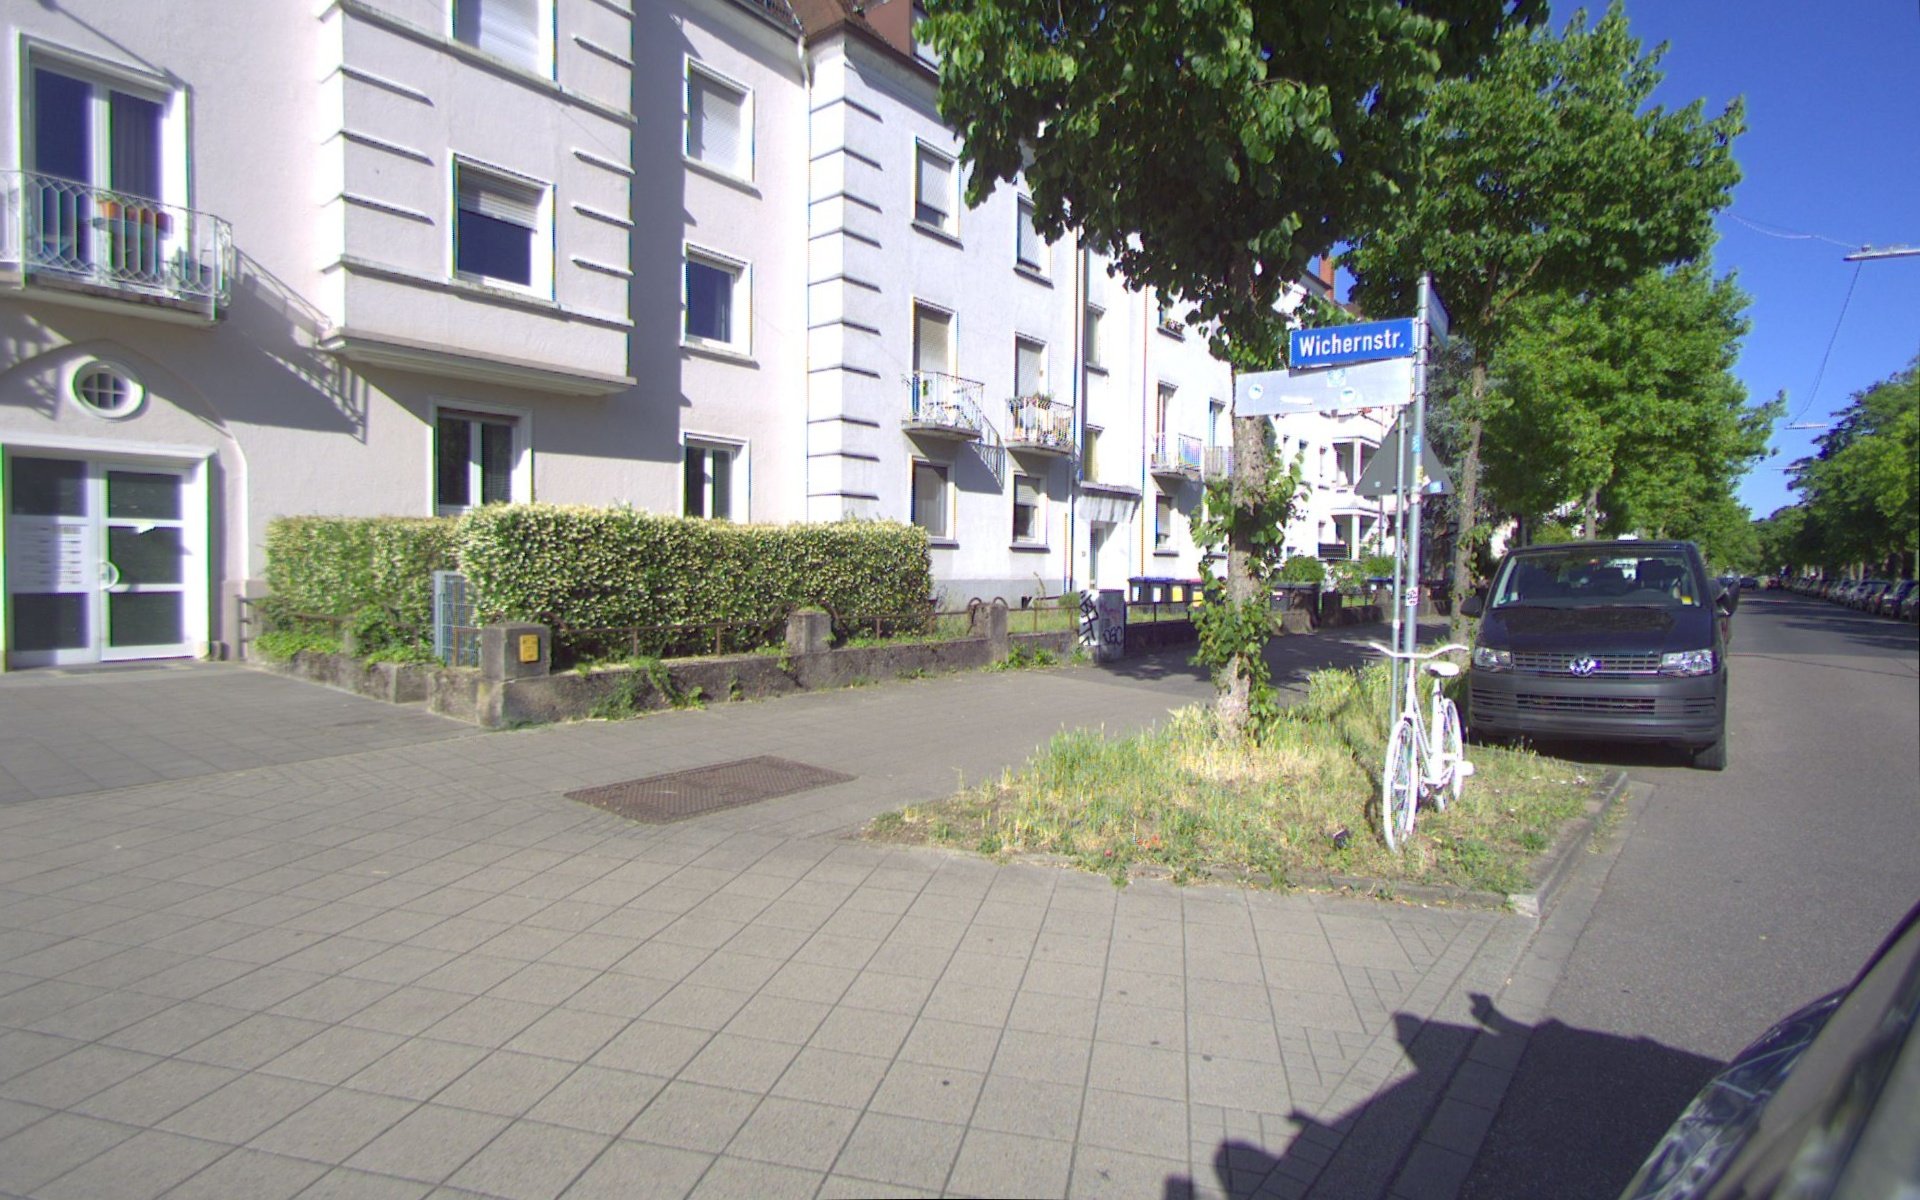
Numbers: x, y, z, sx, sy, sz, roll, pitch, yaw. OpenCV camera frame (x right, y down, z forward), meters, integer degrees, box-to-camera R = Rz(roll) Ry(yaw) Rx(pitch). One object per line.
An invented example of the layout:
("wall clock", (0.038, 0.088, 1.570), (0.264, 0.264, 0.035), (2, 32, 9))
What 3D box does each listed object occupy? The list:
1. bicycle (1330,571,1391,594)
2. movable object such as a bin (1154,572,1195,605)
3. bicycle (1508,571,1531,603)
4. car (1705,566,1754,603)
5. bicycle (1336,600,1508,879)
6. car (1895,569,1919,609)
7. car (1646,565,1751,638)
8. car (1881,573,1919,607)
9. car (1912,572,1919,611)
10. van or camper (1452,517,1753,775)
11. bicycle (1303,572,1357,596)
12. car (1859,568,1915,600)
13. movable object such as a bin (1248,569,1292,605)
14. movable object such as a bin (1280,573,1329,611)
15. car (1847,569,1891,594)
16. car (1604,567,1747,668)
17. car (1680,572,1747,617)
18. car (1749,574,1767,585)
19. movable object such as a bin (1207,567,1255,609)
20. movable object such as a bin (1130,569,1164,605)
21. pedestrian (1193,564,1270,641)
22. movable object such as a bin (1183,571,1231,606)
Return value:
("bicycle", (15.331, -0.660, 38.760), (2.057, 0.779, 0.617), (-3, 0, 40))
("movable object such as a bin", (5.634, -0.300, 26.540), (0.775, 0.832, 0.731), (-1, 1, 44))
("bicycle", (22.108, -0.521, 39.966), (0.488, 1.212, 2.146), (-1, 1, 37))
("car", (37.098, -0.770, 48.861), (1.759, 1.657, 3.964), (-1, 1, 36))
("bicycle", (2.623, 0.644, 5.626), (0.526, 1.208, 2.005), (1, 2, 35))
("car", (39.979, -0.463, 41.631), (1.812, 1.604, 4.349), (3, 3, 38))
("car", (19.177, -0.043, 26.205), (1.927, 1.586, 4.531), (4, 5, 38))
("car", (43.021, -0.479, 45.609), (1.871, 1.391, 4.014), (3, 4, 38))
("car", (36.992, -0.281, 37.812), (1.646, 1.462, 3.914), (3, 4, 38))
("van or camper", (6.620, 0.249, 10.087), (1.985, 1.886, 5.314), (-1, 1, 38))
("bicycle", (15.308, -0.671, 41.906), (2.030, 0.929, 0.550), (4, 4, 44))
("car", (50.406, -0.925, 55.094), (1.871, 1.581, 4.127), (3, 4, 38))
("movable object such as a bin", (7.656, -0.316, 24.989), (0.775, 0.873, 0.753), (-1, 1, 44))
("movable object such as a bin", (8.317, -0.188, 24.410), (0.775, 0.873, 0.994), (-1, 1, 43))
("car", (57.548, -1.178, 64.138), (1.760, 1.514, 3.961), (-1, 1, 38))
("car", (13.810, 0.217, 19.407), (1.896, 1.633, 4.903), (1, 3, 39))
("car", (26.355, -0.211, 35.353), (1.761, 1.414, 3.645), (-1, 1, 39))
("car", (108.755, -2.781, 137.937), (1.760, 1.514, 3.733), (2, 2, 37))
("movable object such as a bin", (6.824, -0.303, 25.456), (0.775, 1.039, 0.994), (-1, 1, 43))
("movable object such as a bin", (4.988, -0.344, 27.064), (0.670, 0.933, 0.587), (-1, 1, 44))
("pedestrian", (4.855, 0.033, 18.118), (1.079, 1.311, 0.808), (-1, 2, 38))
("movable object such as a bin", (6.370, -0.304, 26.095), (0.776, 0.873, 0.994), (-1, 1, 44))
